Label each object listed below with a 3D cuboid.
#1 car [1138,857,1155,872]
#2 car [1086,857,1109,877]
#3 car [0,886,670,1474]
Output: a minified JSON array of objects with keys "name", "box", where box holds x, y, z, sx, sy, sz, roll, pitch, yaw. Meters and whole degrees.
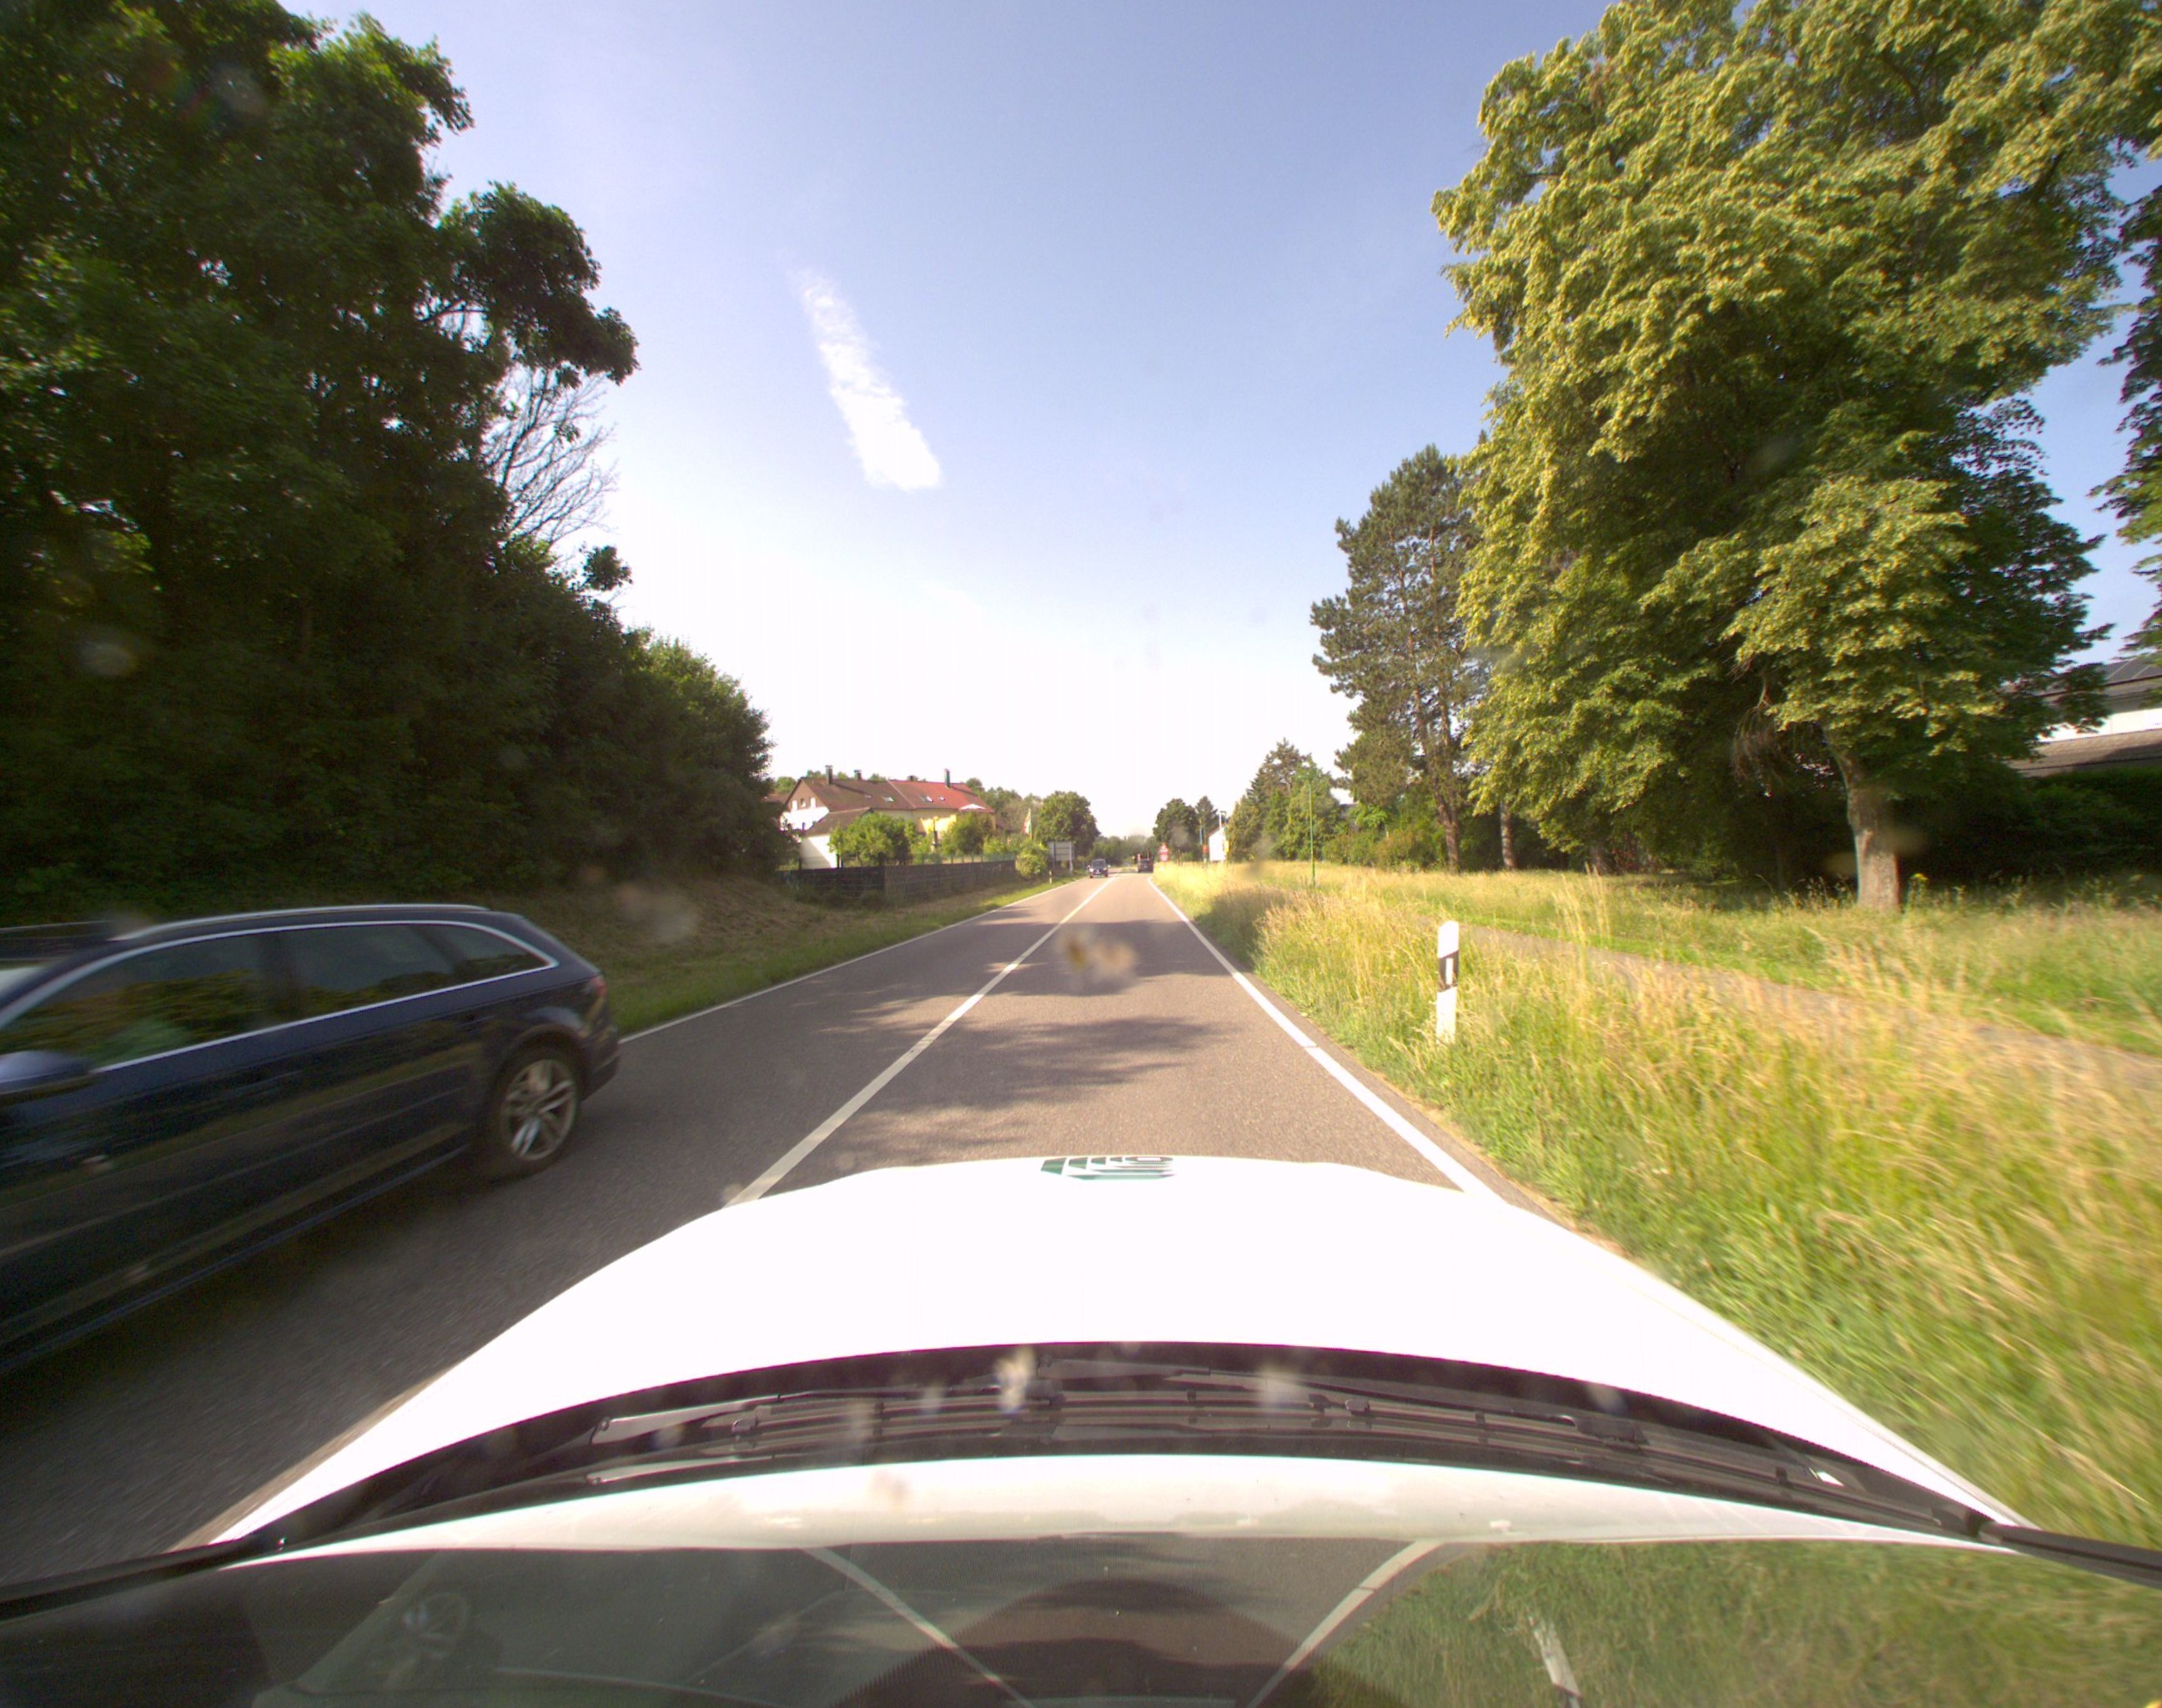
[{"name":"car","box":[8.125,1.277,101.235,1.917,1.771,4.003,-2,0,3]},{"name":"car","box":[1.703,1.287,80.430,1.931,1.817,4.246,-4,-1,4]},{"name":"car","box":[-3.772,0.985,3.066,1.863,1.423,4.580,-4,0,2]}]
